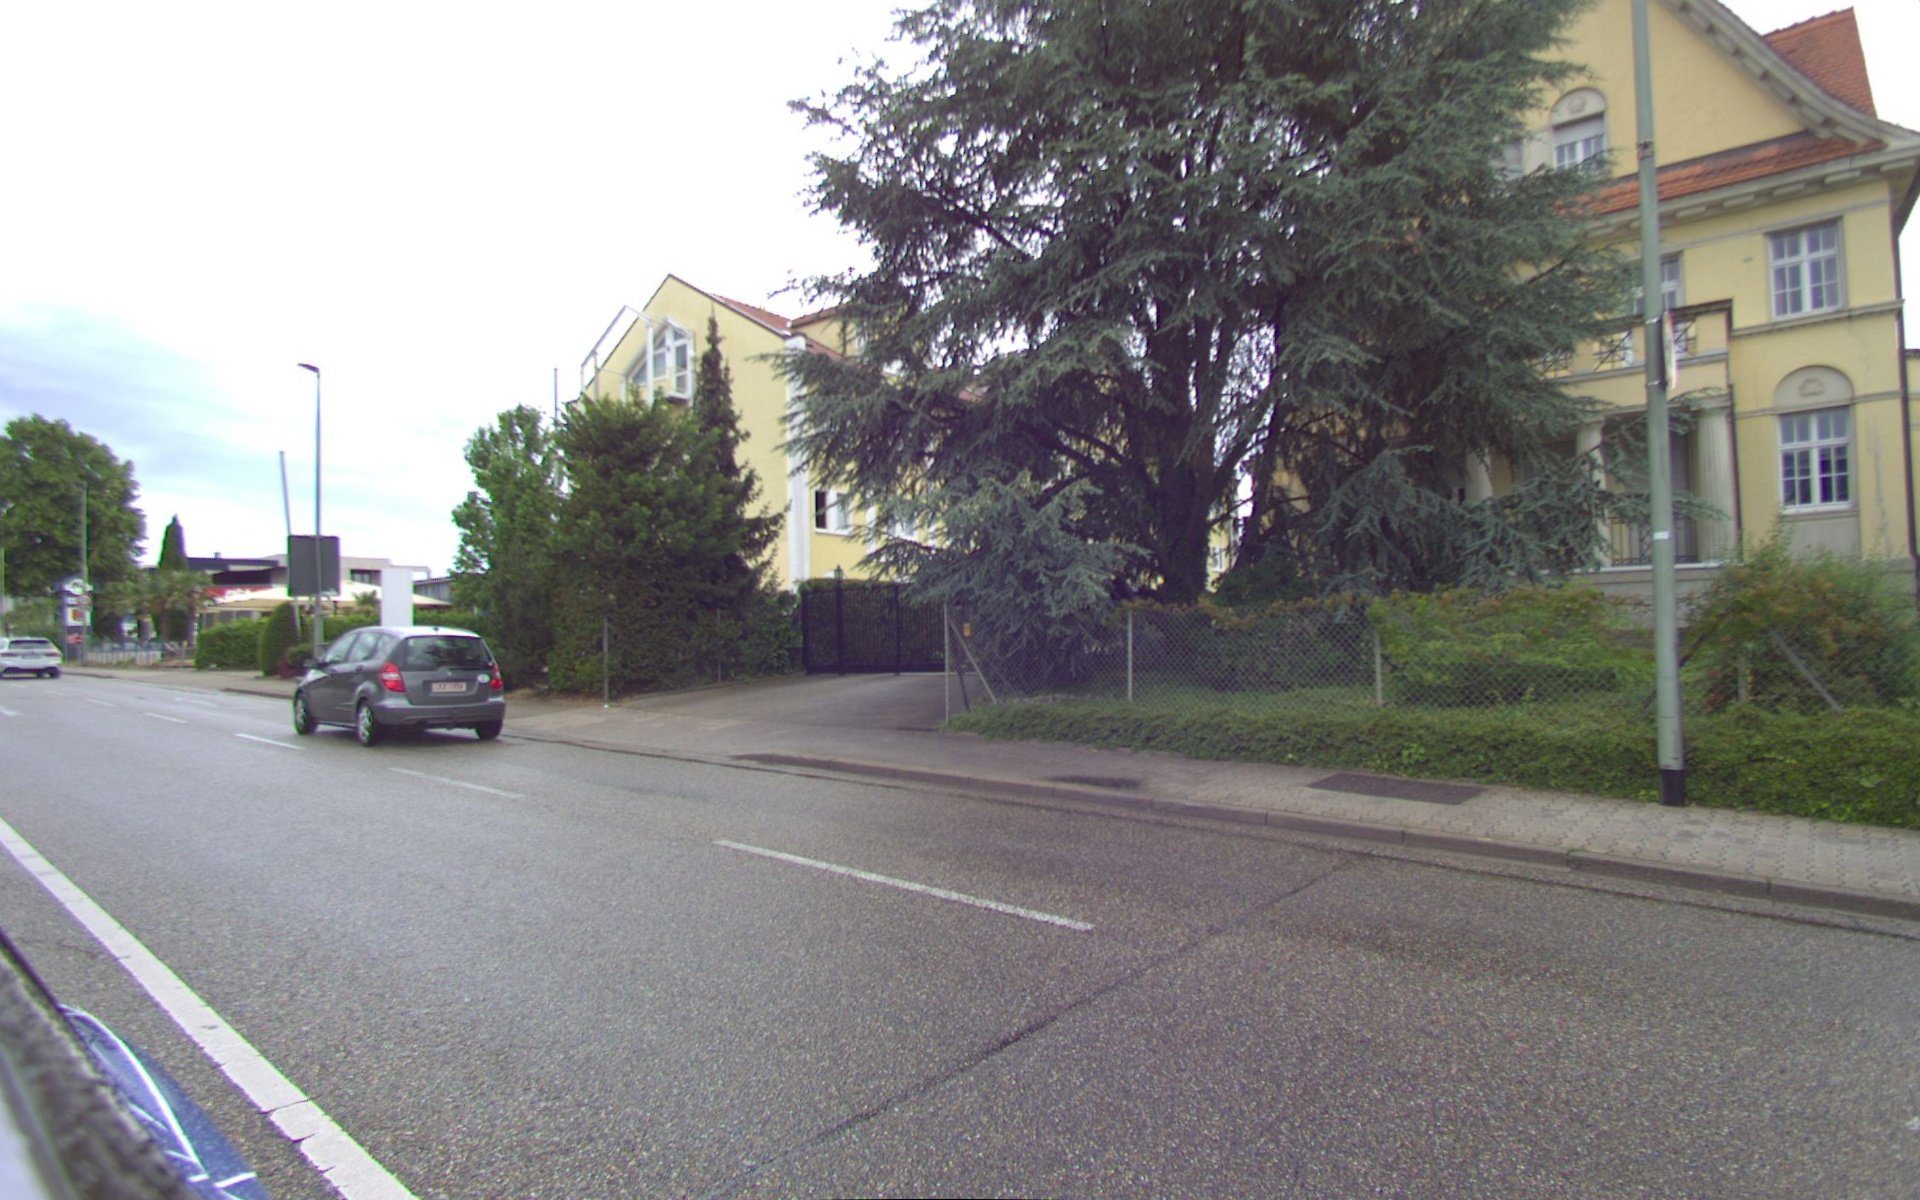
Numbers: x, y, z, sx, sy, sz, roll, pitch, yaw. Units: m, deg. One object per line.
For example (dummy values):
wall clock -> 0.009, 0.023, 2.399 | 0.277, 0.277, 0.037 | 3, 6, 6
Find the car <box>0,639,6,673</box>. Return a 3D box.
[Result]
car -> -44.357, 2.509, 45.485 | 3.776, 1.487, 1.678 | -1, 0, 39

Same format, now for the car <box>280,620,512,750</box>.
car -> -8.074, 1.131, 14.397 | 3.546, 1.611, 1.682 | -2, -3, 39

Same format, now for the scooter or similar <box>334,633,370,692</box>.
scooter or similar -> -15.296, 1.549, 25.451 | 0.498, 1.416, 1.884 | 1, -2, -39

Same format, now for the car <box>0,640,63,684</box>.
car -> -33.384, 2.160, 35.778 | 4.427, 1.471, 1.768 | -2, -3, 39
